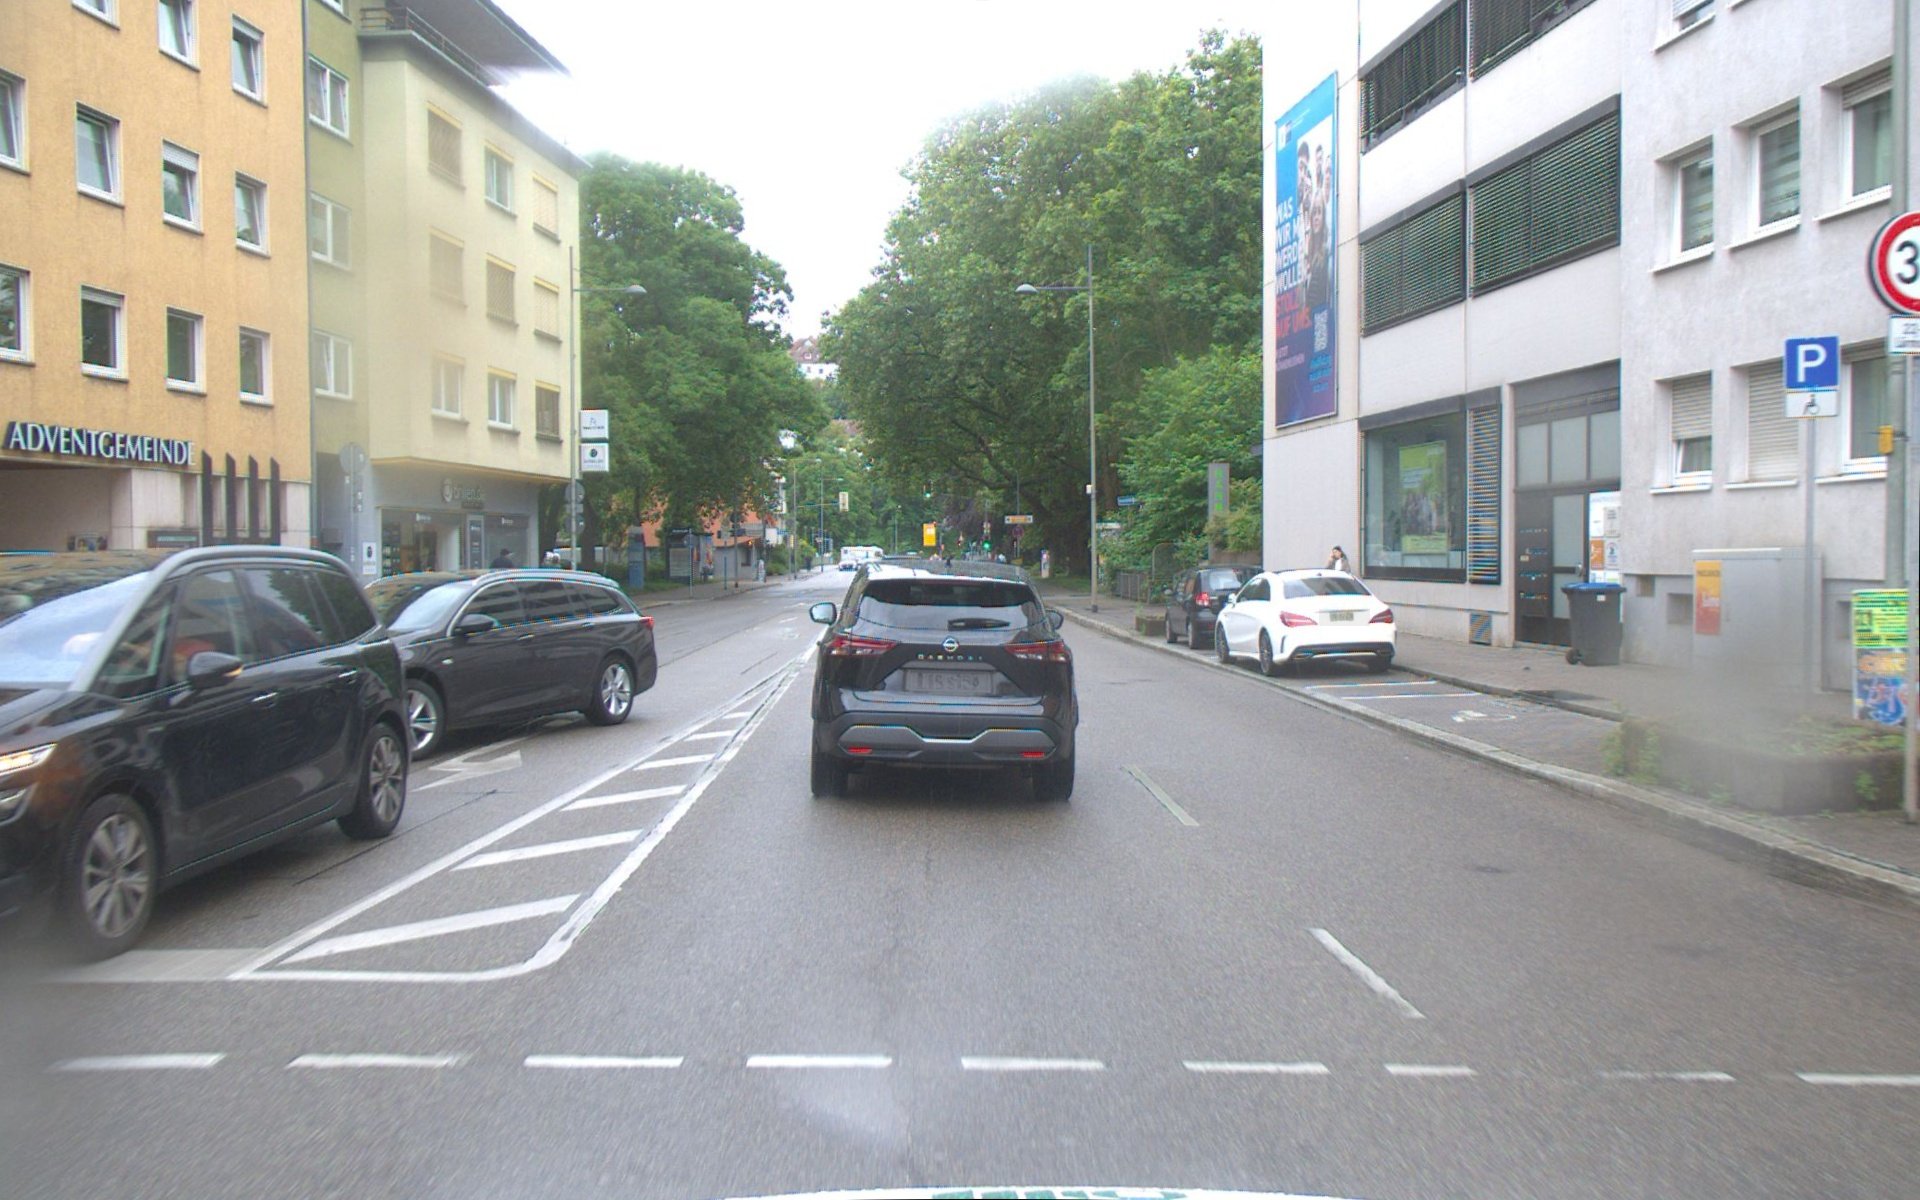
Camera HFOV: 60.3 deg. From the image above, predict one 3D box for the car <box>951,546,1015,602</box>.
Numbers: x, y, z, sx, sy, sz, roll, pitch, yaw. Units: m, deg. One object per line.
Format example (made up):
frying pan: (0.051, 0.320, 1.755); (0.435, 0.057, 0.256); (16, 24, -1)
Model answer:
car: (0.787, -0.953, 58.609); (1.907, 1.847, 3.998); (-2, 2, -4)

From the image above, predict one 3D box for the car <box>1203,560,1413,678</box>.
car: (4.957, 0.192, 24.206); (1.740, 1.425, 4.576); (-2, 3, -5)

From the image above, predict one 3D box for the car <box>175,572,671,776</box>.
car: (-4.464, 0.516, 14.548); (1.783, 1.458, 4.400); (0, 1, 21)

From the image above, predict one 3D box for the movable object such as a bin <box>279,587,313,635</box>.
movable object such as a bin: (-13.356, 0.214, 33.267); (0.444, 0.945, 0.503); (0, 2, 5)

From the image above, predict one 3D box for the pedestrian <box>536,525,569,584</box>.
pedestrian: (-11.907, -1.329, 48.327); (0.782, 1.717, 0.817); (0, 2, -3)

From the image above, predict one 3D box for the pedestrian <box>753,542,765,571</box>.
pedestrian: (-12.901, -2.782, 106.143); (0.654, 1.822, 0.720); (1, 2, -9)

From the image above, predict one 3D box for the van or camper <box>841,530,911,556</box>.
van or camper: (-12.961, -8.832, 256.325); (10.714, 3.618, 3.183); (1, 2, -4)

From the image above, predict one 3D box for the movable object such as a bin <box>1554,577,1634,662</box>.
movable object such as a bin: (8.465, 0.247, 22.101); (0.699, 1.086, 0.783); (-1, 2, -9)

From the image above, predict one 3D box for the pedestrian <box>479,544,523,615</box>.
pedestrian: (-12.199, -0.557, 43.957); (0.847, 1.819, 0.875); (2, 2, 3)

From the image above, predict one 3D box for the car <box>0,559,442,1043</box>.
car: (-4.083, 0.640, 7.735); (1.783, 1.636, 4.432); (-1, 1, 2)

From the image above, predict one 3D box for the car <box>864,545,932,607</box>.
car: (-1.817, -0.746, 49.657); (1.906, 1.714, 4.000); (-2, 2, -1)

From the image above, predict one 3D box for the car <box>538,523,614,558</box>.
car: (-20.974, -3.262, 90.383); (3.758, 1.764, 1.878); (1, 2, -4)

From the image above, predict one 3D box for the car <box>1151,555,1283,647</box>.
car: (4.676, -0.042, 30.638); (1.680, 1.467, 4.081); (-2, 2, -1)

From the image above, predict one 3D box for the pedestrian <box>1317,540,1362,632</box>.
pedestrian: (7.446, -0.289, 32.479); (0.601, 1.767, 0.680); (-2, 2, -9)

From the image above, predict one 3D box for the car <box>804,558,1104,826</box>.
car: (-0.160, 0.549, 12.314); (1.857, 1.657, 3.997); (1, 1, -4)
